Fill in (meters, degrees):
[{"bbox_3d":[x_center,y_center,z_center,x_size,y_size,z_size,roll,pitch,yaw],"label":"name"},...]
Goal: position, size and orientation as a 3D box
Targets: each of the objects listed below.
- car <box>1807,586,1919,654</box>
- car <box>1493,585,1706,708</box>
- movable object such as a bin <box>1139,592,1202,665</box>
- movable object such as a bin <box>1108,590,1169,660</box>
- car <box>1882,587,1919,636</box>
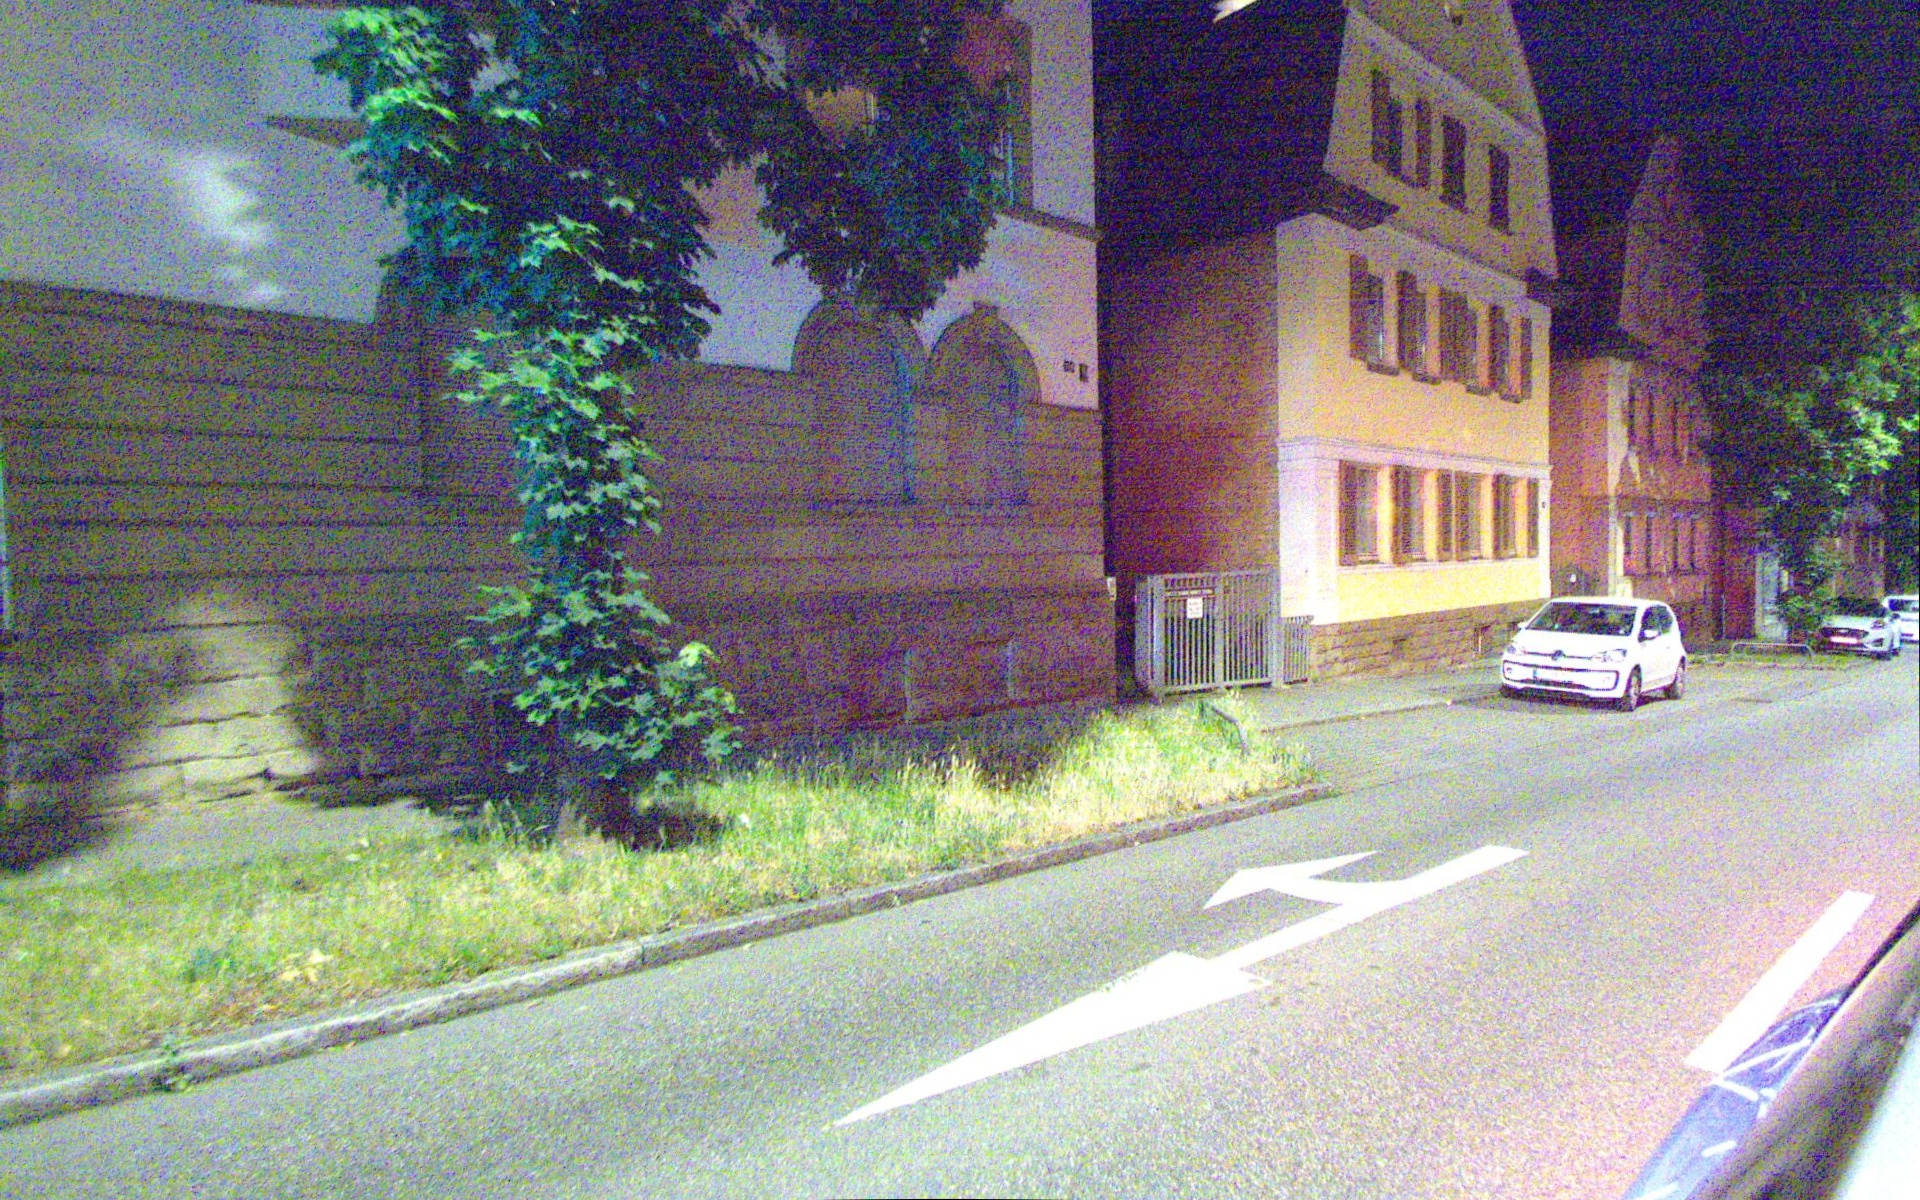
[{"bbox_3d":[23.805,0.476,26.579,3.977,1.572,1.862,0,3,-43],"label":"car"},{"bbox_3d":[9.322,0.580,14.658,3.541,1.503,1.671,0,2,-42],"label":"car"},{"bbox_3d":[3.181,0.409,15.272,0.742,1.062,0.608,0,0,-41],"label":"movable object such as a bin"},{"bbox_3d":[2.781,0.374,15.761,0.742,1.062,0.608,0,0,-41],"label":"movable object such as a bin"},{"bbox_3d":[33.788,0.397,35.349,4.281,1.616,1.742,0,3,-40],"label":"car"}]
